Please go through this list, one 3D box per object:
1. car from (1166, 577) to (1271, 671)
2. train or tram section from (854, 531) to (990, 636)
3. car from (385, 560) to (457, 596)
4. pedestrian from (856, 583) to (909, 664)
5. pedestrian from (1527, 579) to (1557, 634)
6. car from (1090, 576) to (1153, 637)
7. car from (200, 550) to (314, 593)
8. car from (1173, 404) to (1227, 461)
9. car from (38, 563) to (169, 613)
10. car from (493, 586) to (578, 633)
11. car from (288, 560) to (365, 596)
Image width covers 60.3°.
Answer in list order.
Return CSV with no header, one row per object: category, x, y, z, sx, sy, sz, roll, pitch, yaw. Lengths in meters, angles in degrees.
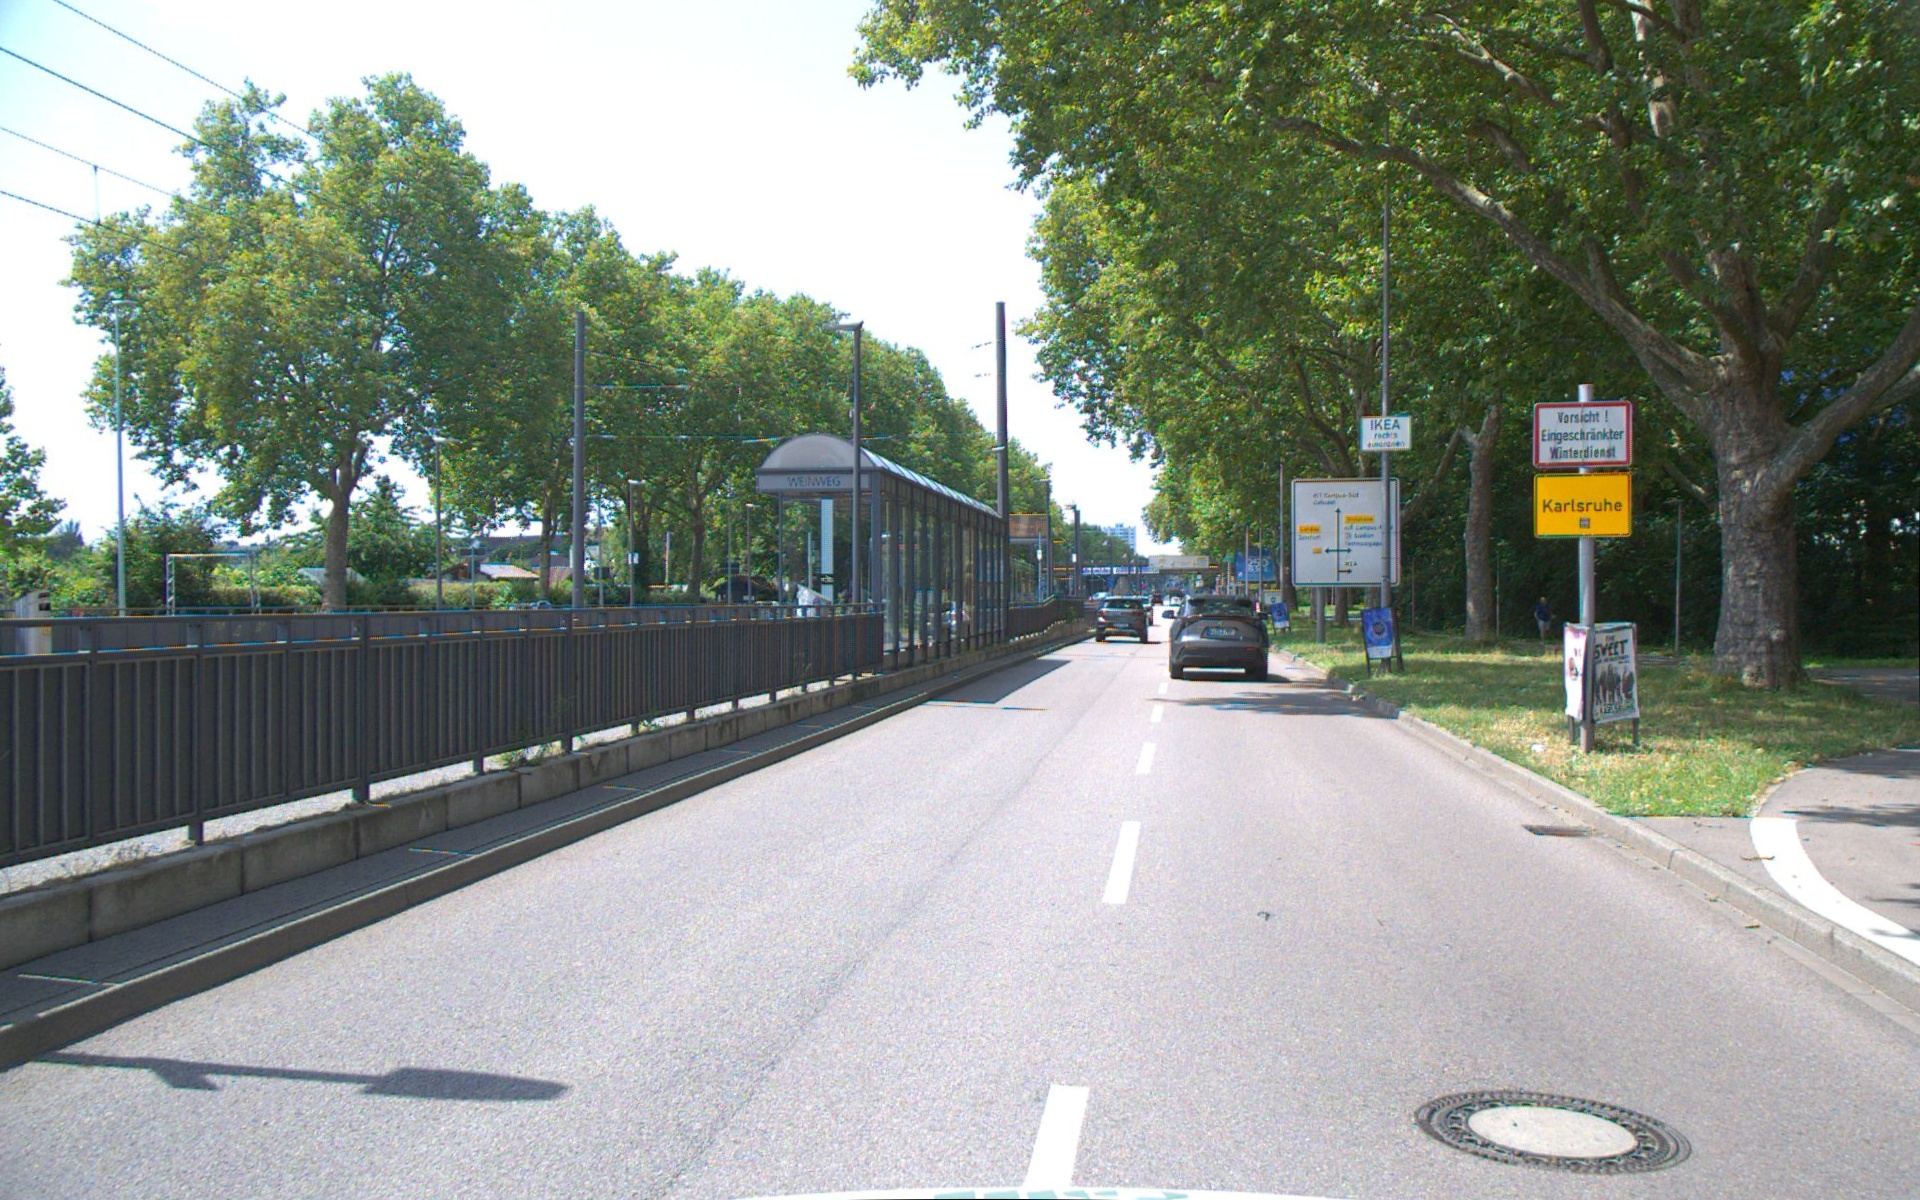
car,5.019,0.485,32.564,1.857,1.704,4.522,1,-1,7
train or tram section,-1.055,-0.530,58.237,2.973,3.242,14.111,0,0,6
car,-26.485,-1.091,81.359,1.863,1.691,3.931,1,1,7
pedestrian,-1.187,0.353,25.411,0.678,1.211,0.642,2,0,8
pedestrian,22.102,0.250,62.868,0.818,2.049,0.957,2,0,6
car,5.661,0.245,57.638,1.951,2.024,4.366,0,-1,8
car,-28.466,-1.173,67.047,3.831,1.691,1.912,1,1,10
car,8.851,-6.172,61.274,1.793,1.658,4.299,1,0,6
car,-30.779,-0.449,59.479,3.831,1.691,1.912,1,1,10
car,-15.799,0.321,61.757,1.672,1.612,4.004,1,1,7
car,-30.937,-1.120,80.873,1.863,1.691,3.931,1,1,7
